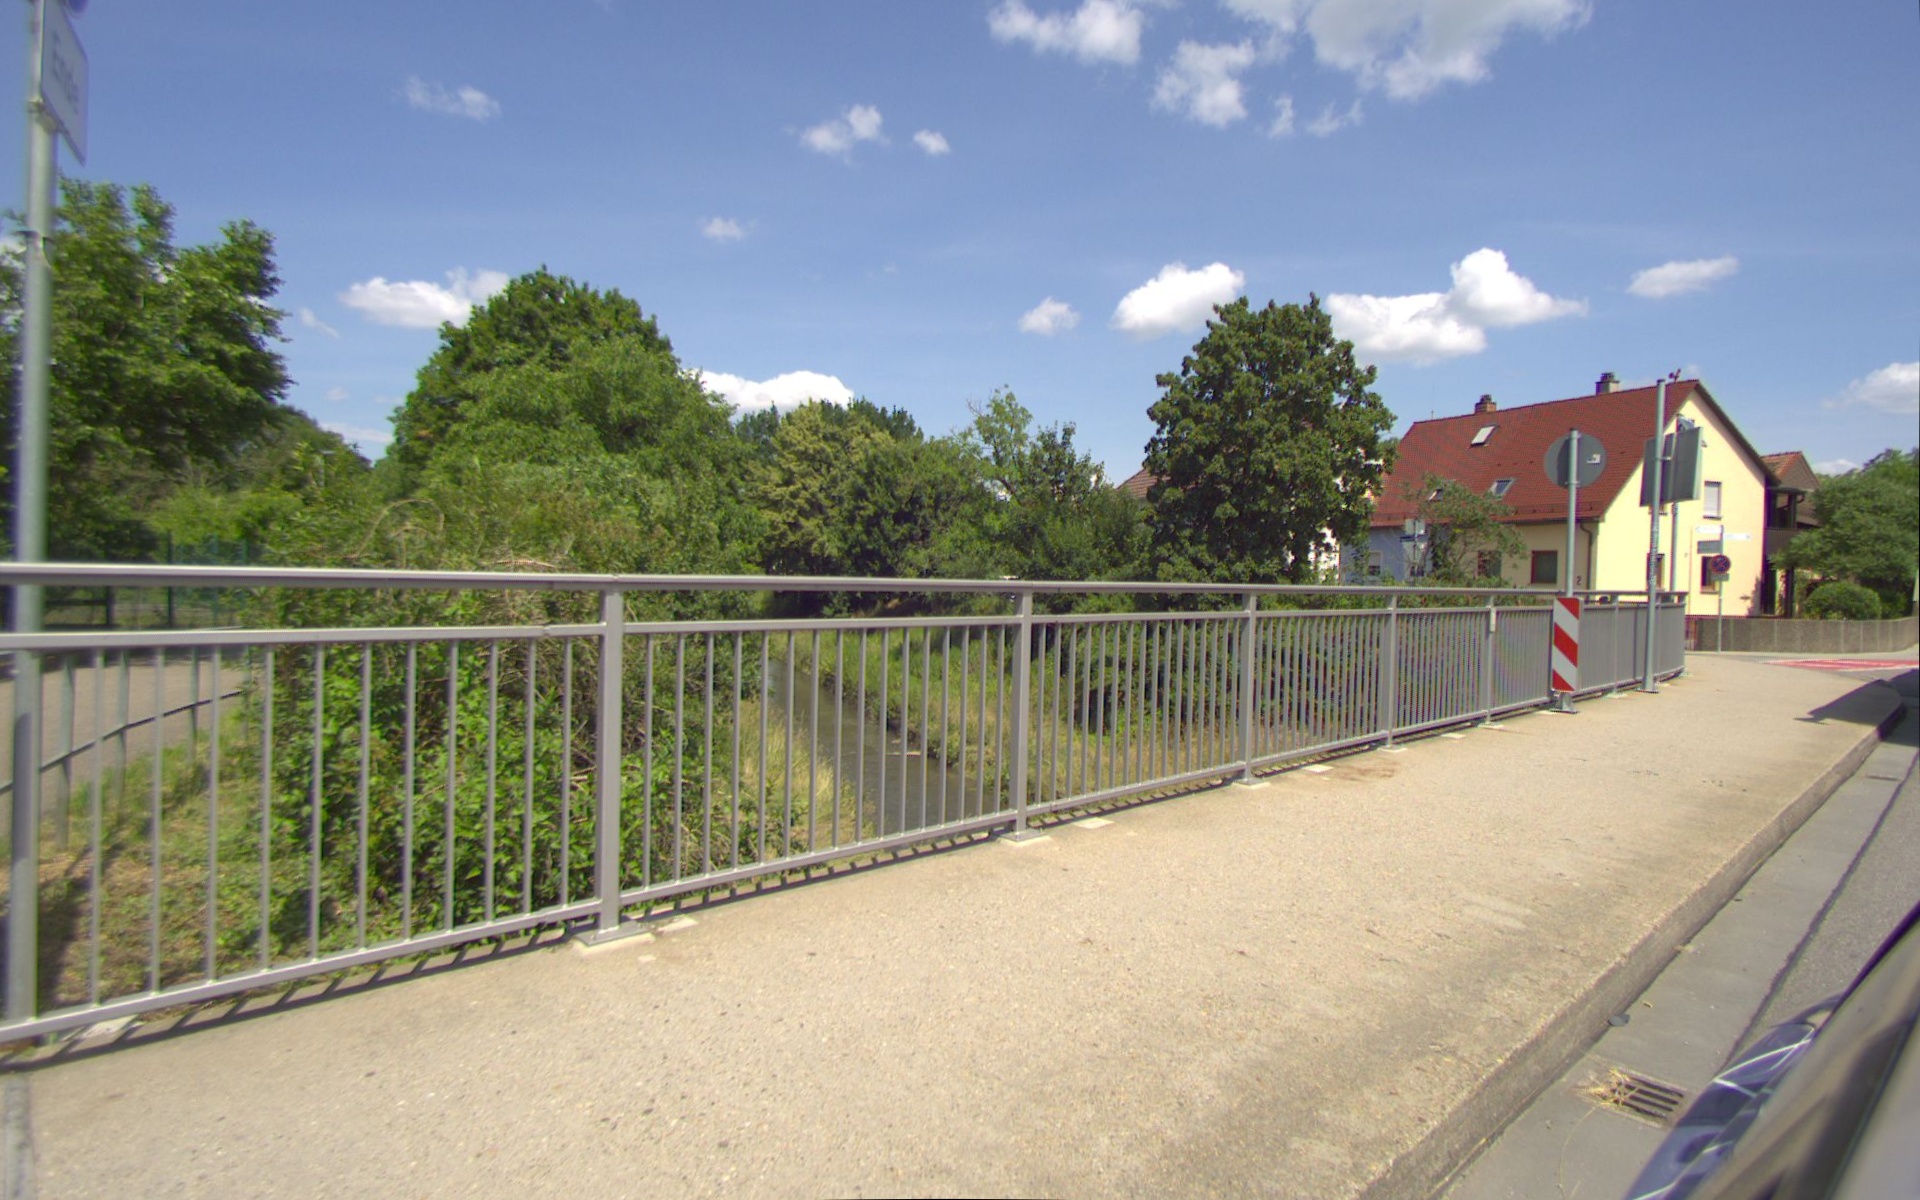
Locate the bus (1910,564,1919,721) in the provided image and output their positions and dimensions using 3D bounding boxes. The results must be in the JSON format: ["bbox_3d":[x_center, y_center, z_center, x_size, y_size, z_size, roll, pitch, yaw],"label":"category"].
[{"bbox_3d":[13.840,-0.096,11.857,9.113,3.004,2.755,2,1,-40],"label":"bus"}]
